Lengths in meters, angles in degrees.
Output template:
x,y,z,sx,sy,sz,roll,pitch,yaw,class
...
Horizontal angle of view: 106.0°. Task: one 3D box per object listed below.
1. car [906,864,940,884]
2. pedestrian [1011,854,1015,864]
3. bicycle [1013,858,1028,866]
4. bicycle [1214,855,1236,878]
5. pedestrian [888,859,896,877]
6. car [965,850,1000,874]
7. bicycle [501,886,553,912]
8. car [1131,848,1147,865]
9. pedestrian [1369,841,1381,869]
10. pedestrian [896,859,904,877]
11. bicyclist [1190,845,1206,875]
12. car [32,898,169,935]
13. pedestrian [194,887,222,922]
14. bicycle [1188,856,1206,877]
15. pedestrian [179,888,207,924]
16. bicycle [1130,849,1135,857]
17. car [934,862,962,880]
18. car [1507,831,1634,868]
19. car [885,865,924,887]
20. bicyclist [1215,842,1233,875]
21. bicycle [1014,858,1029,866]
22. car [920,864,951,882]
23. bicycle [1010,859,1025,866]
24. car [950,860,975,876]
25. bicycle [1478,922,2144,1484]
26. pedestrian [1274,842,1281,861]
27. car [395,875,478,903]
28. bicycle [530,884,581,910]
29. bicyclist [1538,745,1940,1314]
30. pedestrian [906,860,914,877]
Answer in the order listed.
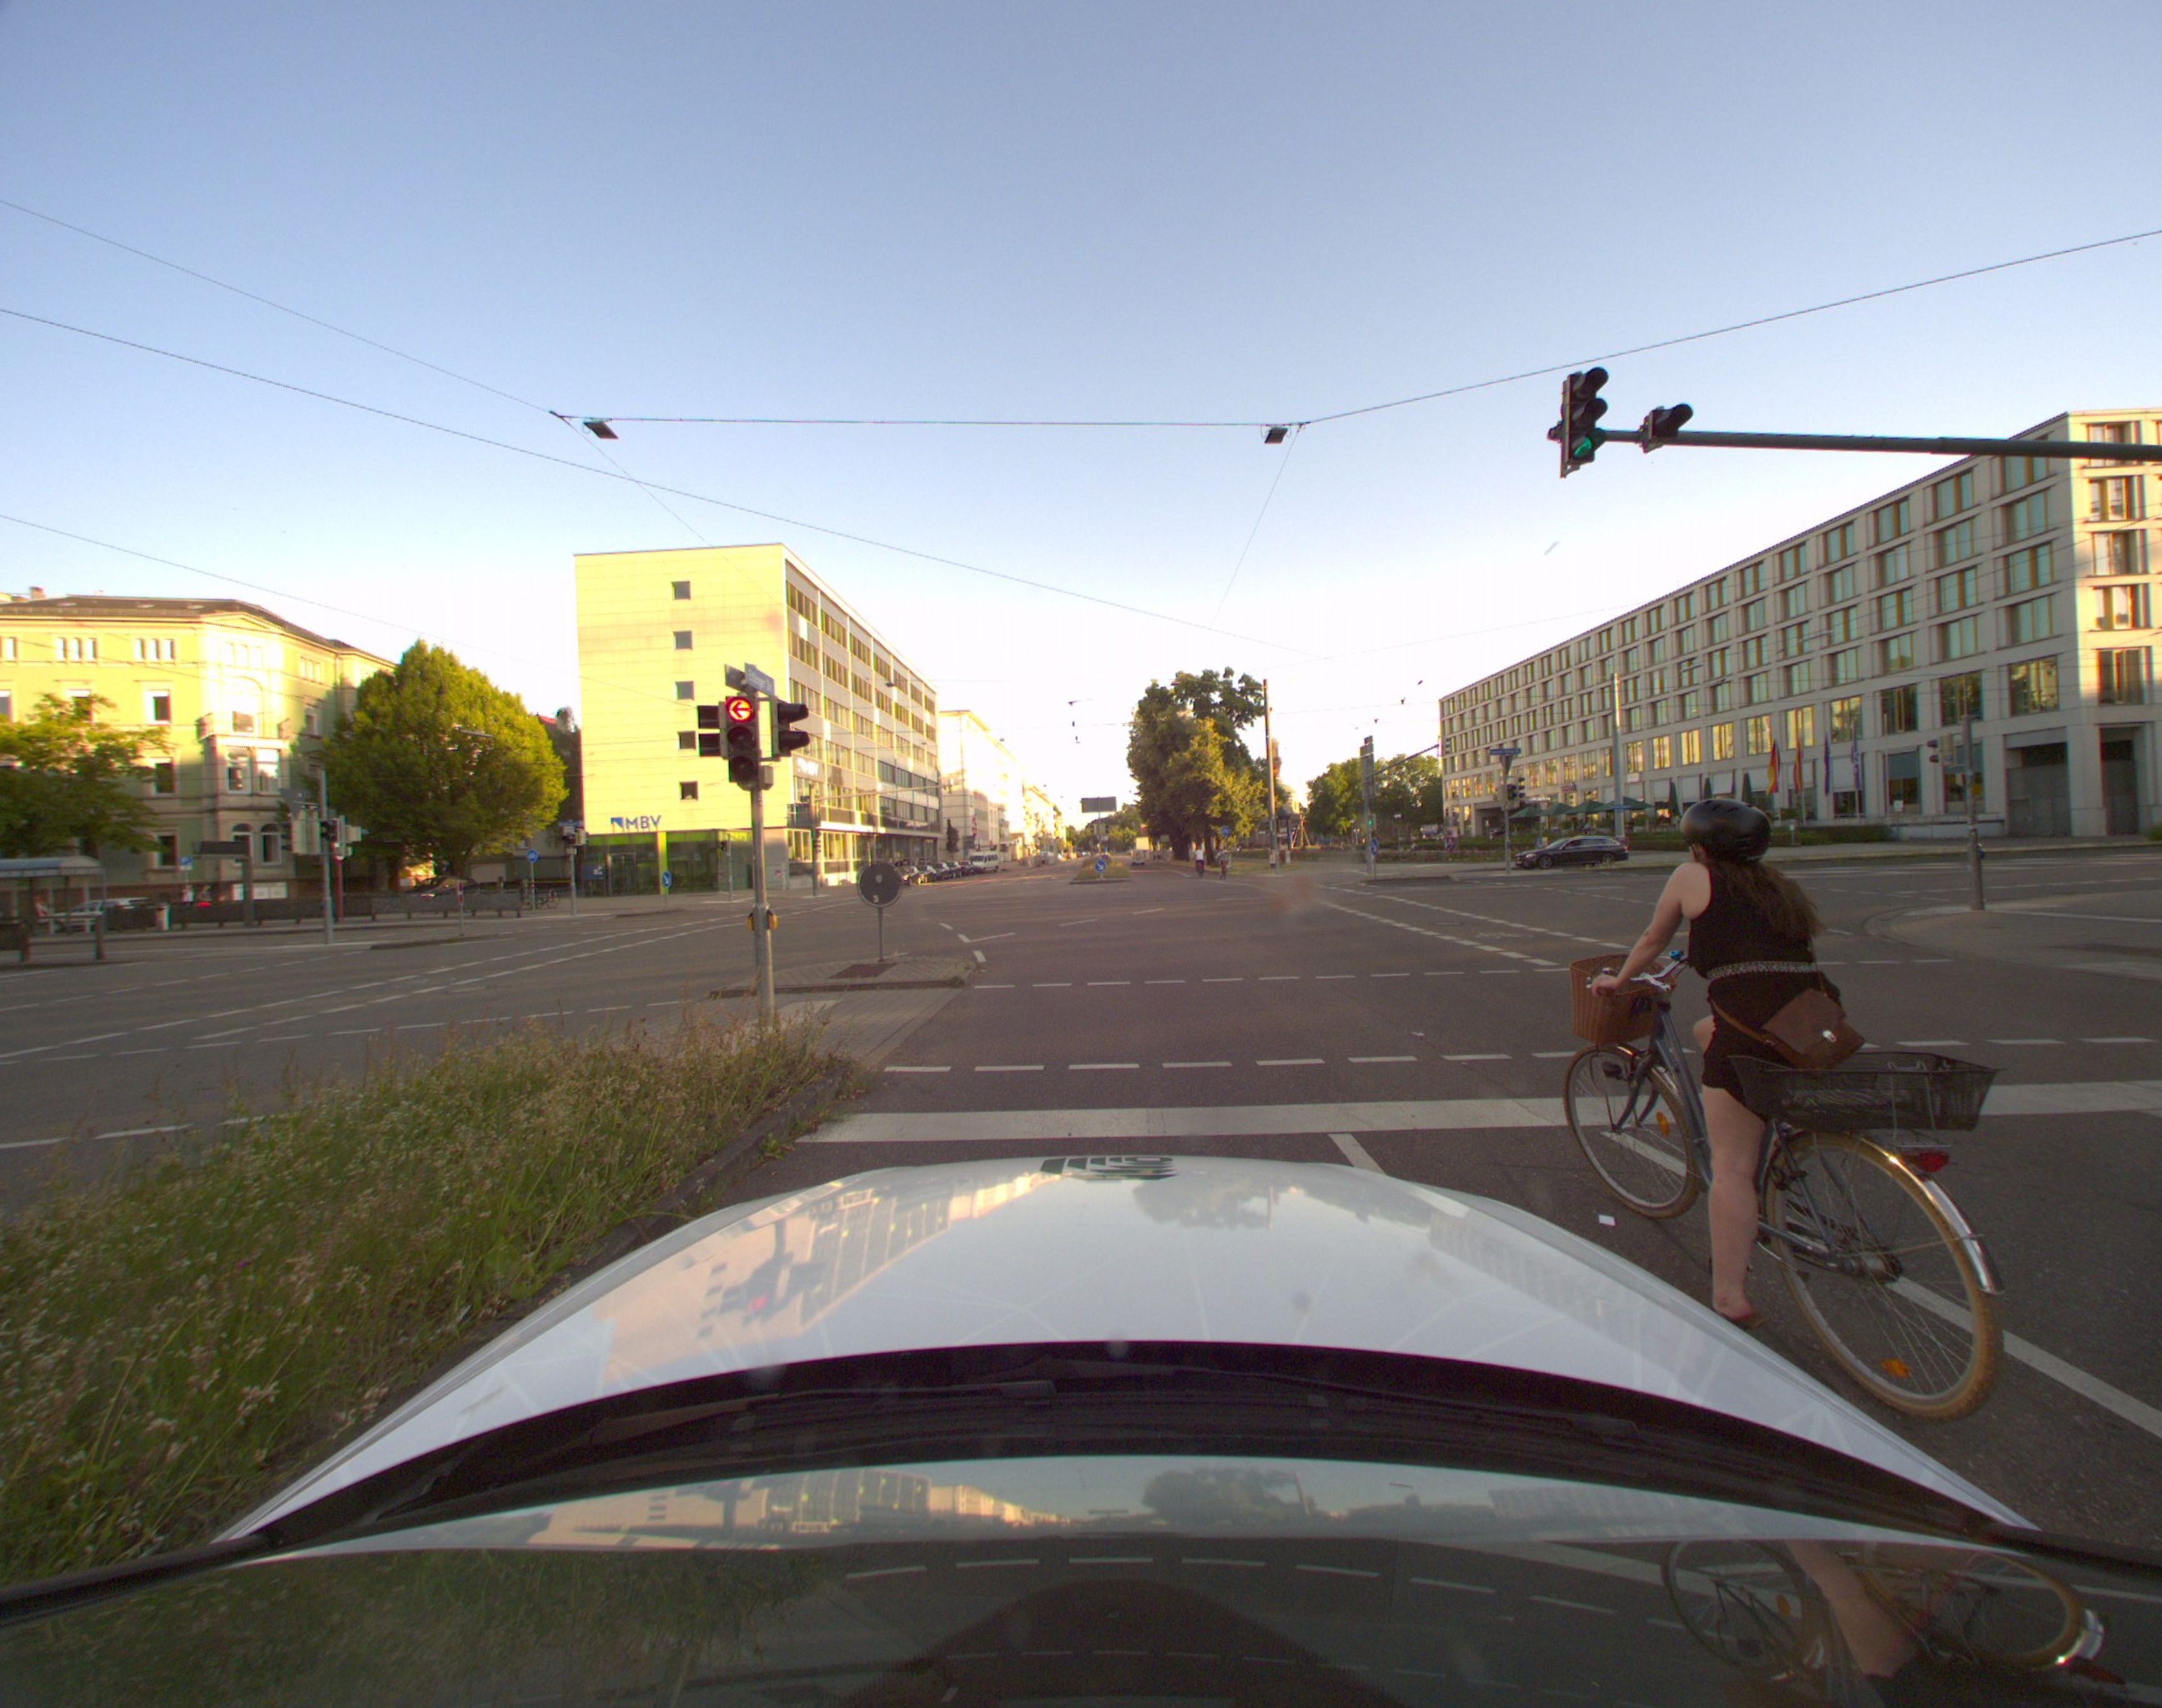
x,y,z,sx,sy,sz,roll,pitch,yaw,class
-13.312,1.652,68.919,1.913,1.464,4.002,-3,0,2,car
-13.848,1.065,165.555,0.677,2.013,0.545,-3,0,1,pedestrian
-9.397,1.290,127.126,2.198,1.112,0.689,-3,0,0,bicycle
7.569,0.643,42.915,0.744,1.144,2.506,-3,0,2,bicycle
-18.209,1.370,78.563,0.549,1.679,0.500,-3,0,1,pedestrian
-11.058,0.873,91.691,1.988,2.478,5.888,-3,0,12,car
-27.117,2.167,39.899,0.832,1.112,2.216,-3,0,6,bicycle
6.089,0.258,86.419,1.403,1.641,4.000,-3,0,1,car
16.603,0.065,45.958,0.489,1.540,0.408,-3,0,1,pedestrian
-17.545,1.357,78.857,0.549,1.679,0.500,-3,0,1,pedestrian
6.739,0.328,46.901,0.744,1.663,0.873,-3,0,1,bicyclist
-45.248,2.849,37.677,3.588,1.372,1.833,-3,0,-15,car
-45.901,2.649,42.836,0.641,1.790,0.720,-3,0,-12,pedestrian
6.728,0.711,47.326,0.744,1.144,2.506,-3,0,2,bicycle
-45.879,2.662,42.077,0.641,1.790,0.720,-3,0,-12,pedestrian
13.108,-0.263,208.003,0.997,2.013,4.007,-3,0,6,bicycle
-12.852,1.580,79.034,1.913,1.568,4.002,-3,0,2,car
23.496,-0.194,39.229,4.803,1.515,2.002,-3,0,4,car
-13.509,1.665,62.405,1.913,1.464,4.105,-3,0,2,car
7.548,0.258,42.923,0.744,1.691,0.799,-3,0,1,bicyclist
-9.486,1.276,129.344,2.198,1.236,0.839,-3,0,0,bicycle
-13.104,1.689,73.732,1.913,1.464,4.002,-3,0,2,car
-9.765,1.315,125.947,2.198,1.112,0.619,-3,0,0,bicycle
-12.384,1.453,85.257,1.913,1.568,4.002,-3,0,2,car
2.186,0.898,2.899,0.609,1.132,2.005,-1,0,2,bicycle
18.129,-0.240,75.171,0.458,1.656,0.567,-3,0,1,pedestrian
-36.743,1.954,46.549,1.830,1.372,3.594,-3,0,0,car
-25.691,2.103,39.868,0.832,1.112,2.216,-3,0,6,bicycle
2.182,0.508,2.856,0.597,1.636,0.999,-1,0,2,bicyclist
-16.519,1.400,78.519,0.549,1.679,0.500,-3,0,1,pedestrian
